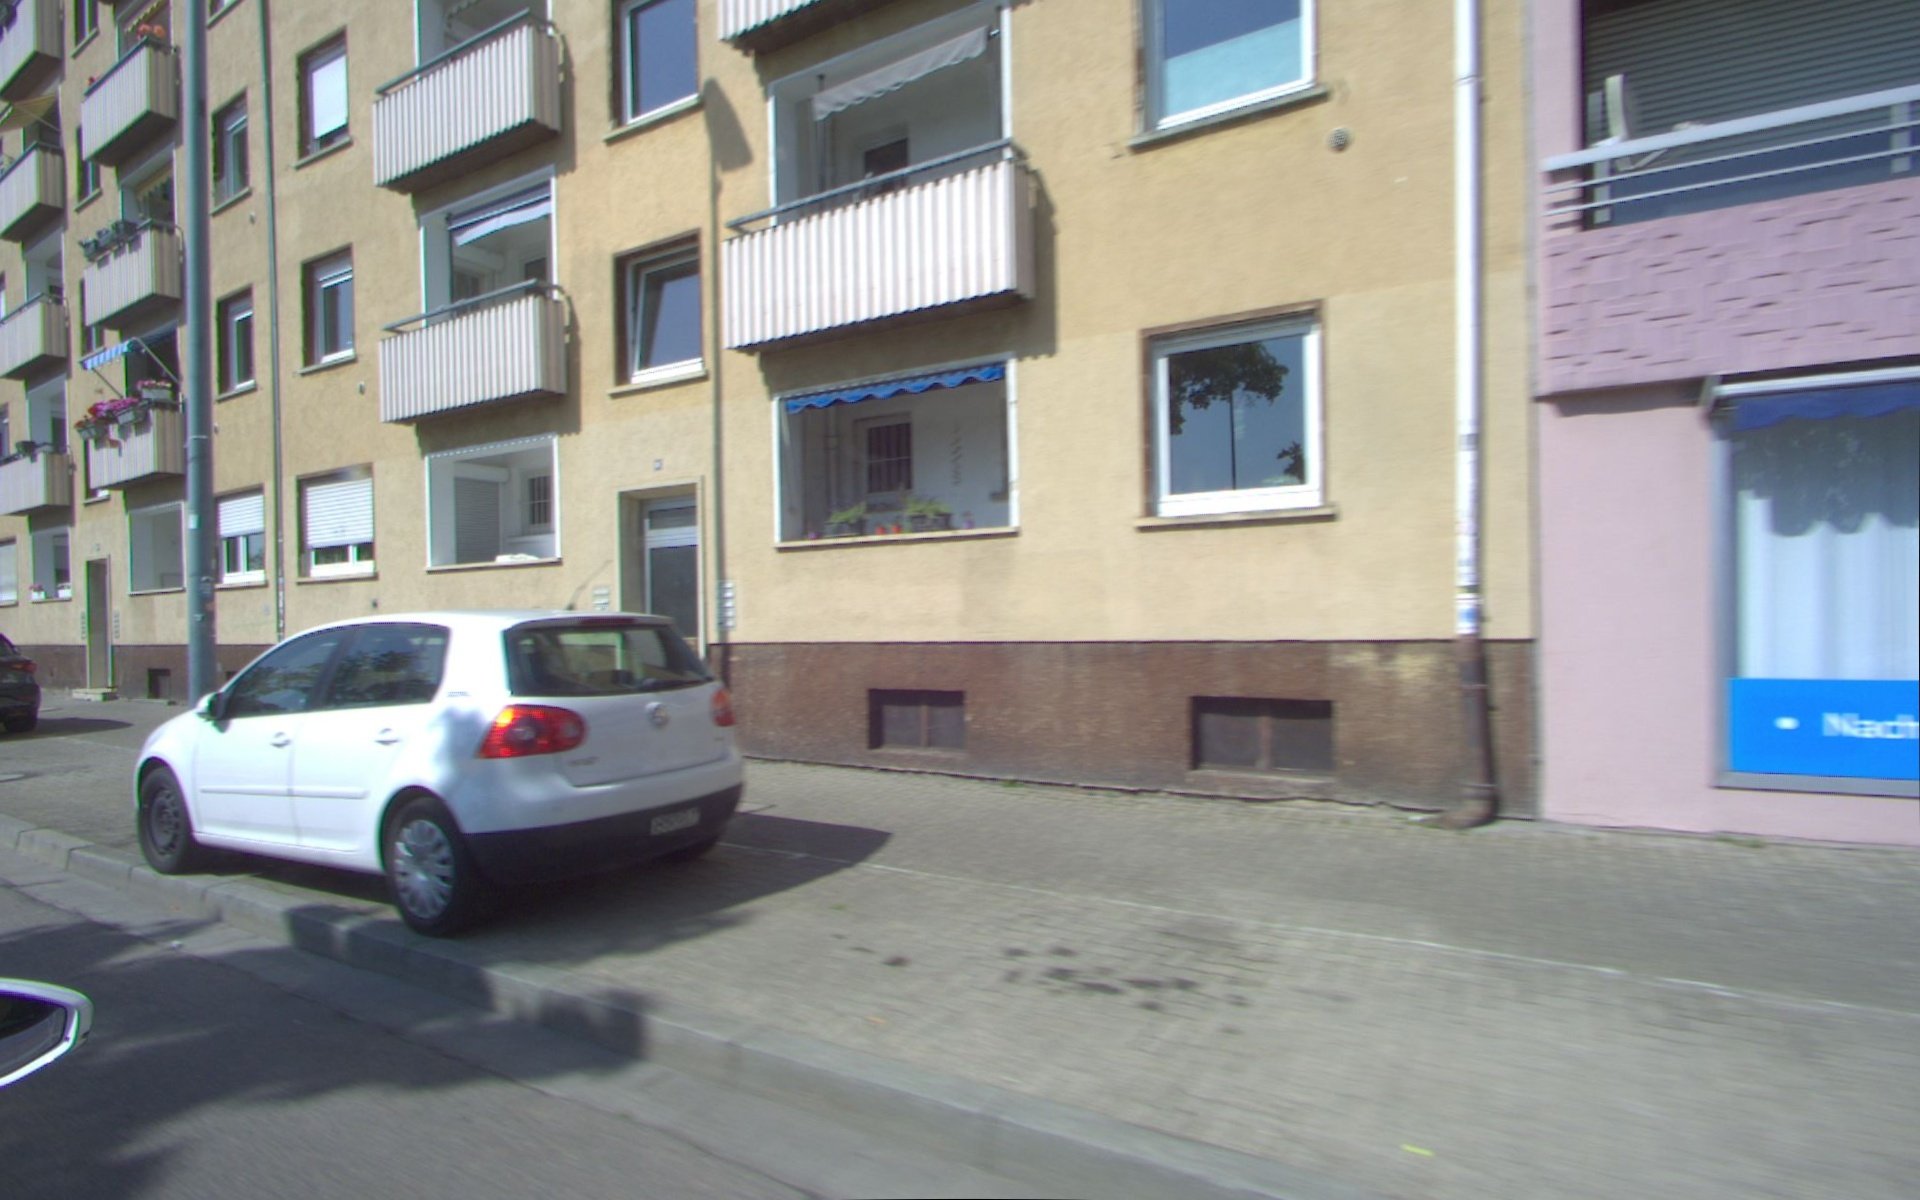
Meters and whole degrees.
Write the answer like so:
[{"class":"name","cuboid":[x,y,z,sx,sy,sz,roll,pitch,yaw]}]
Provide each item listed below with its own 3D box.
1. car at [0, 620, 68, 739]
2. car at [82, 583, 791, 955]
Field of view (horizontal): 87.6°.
[{"class":"car","cuboid":[-13.894,1.024,13.285,4.522,1.457,1.797,-1,-1,31]},{"class":"car","cuboid":[-3.149,0.732,5.874,4.065,1.525,1.754,-1,-1,29]}]
